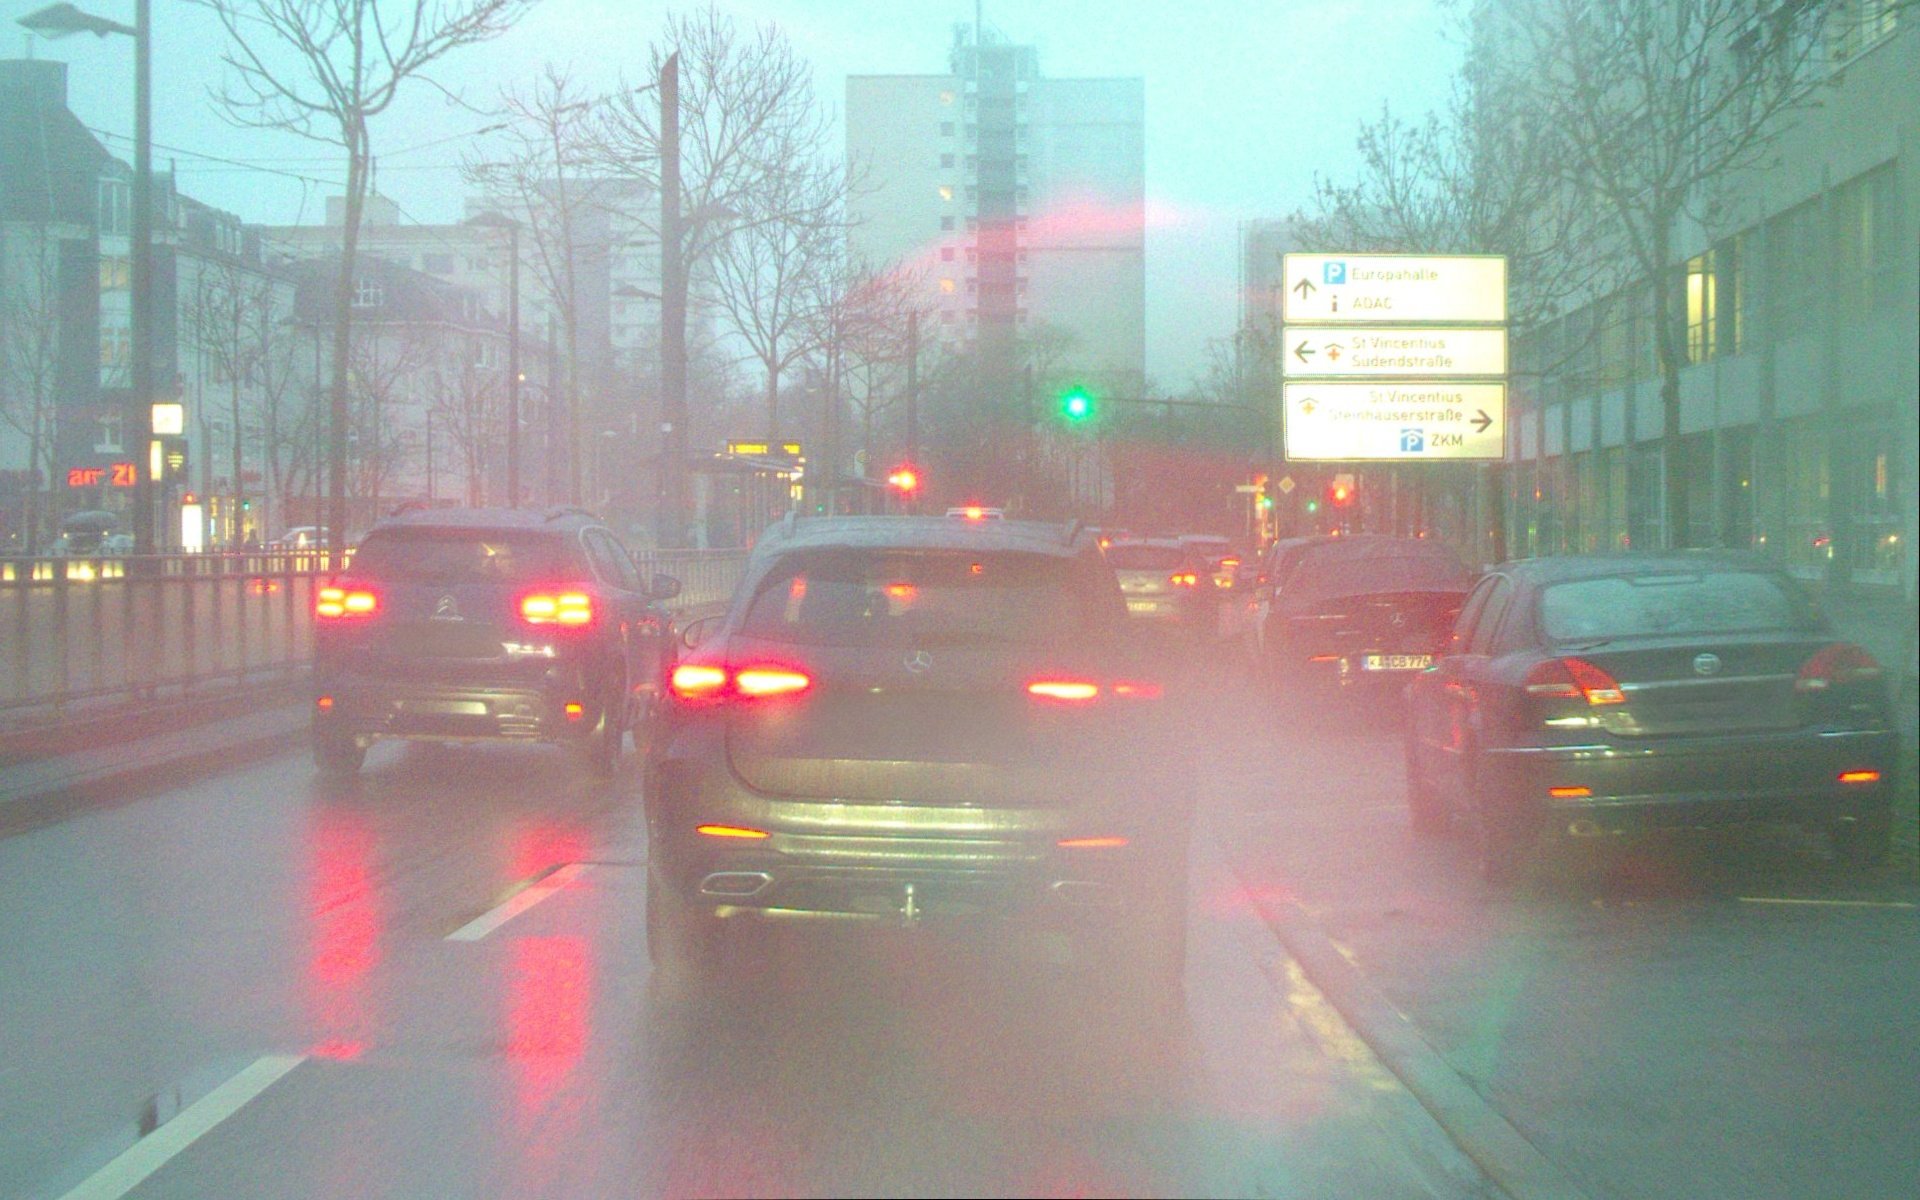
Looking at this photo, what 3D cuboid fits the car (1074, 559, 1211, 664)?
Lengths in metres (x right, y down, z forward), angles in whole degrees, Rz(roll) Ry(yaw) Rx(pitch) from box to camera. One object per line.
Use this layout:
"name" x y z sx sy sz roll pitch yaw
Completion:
"car" 2.641 0.136 50.232 1.887 1.349 4.101 1 2 2

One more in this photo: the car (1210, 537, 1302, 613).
"car" 6.851 -0.584 79.860 1.994 1.685 3.528 1 0 4

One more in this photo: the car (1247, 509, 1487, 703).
"car" 3.245 -0.016 27.907 1.754 1.398 4.249 1 2 5

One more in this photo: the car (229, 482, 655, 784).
"car" -3.203 0.174 22.156 1.993 1.706 4.324 1 0 1

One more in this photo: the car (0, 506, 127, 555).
"car" -26.998 -2.086 102.737 3.797 1.362 1.698 1 0 -2

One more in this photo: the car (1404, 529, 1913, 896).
"car" 3.079 0.438 15.942 1.596 1.435 4.228 1 0 2

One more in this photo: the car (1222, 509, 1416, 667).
"car" 3.430 -0.157 33.288 1.591 1.389 3.487 -2 2 2

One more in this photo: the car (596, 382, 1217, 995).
"car" -0.190 0.276 13.336 1.993 1.969 4.068 1 0 0

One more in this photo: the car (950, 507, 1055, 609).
"car" 0.794 -0.742 62.027 1.794 1.744 3.625 1 0 1

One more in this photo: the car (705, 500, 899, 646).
"car" -1.857 -0.328 41.661 1.993 1.636 4.022 1 0 2

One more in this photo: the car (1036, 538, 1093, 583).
"car" 3.638 -1.372 119.124 1.771 1.497 3.368 1 0 5

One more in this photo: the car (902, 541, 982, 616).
"car" -0.479 -0.629 97.469 1.952 2.026 4.883 1 1 3
